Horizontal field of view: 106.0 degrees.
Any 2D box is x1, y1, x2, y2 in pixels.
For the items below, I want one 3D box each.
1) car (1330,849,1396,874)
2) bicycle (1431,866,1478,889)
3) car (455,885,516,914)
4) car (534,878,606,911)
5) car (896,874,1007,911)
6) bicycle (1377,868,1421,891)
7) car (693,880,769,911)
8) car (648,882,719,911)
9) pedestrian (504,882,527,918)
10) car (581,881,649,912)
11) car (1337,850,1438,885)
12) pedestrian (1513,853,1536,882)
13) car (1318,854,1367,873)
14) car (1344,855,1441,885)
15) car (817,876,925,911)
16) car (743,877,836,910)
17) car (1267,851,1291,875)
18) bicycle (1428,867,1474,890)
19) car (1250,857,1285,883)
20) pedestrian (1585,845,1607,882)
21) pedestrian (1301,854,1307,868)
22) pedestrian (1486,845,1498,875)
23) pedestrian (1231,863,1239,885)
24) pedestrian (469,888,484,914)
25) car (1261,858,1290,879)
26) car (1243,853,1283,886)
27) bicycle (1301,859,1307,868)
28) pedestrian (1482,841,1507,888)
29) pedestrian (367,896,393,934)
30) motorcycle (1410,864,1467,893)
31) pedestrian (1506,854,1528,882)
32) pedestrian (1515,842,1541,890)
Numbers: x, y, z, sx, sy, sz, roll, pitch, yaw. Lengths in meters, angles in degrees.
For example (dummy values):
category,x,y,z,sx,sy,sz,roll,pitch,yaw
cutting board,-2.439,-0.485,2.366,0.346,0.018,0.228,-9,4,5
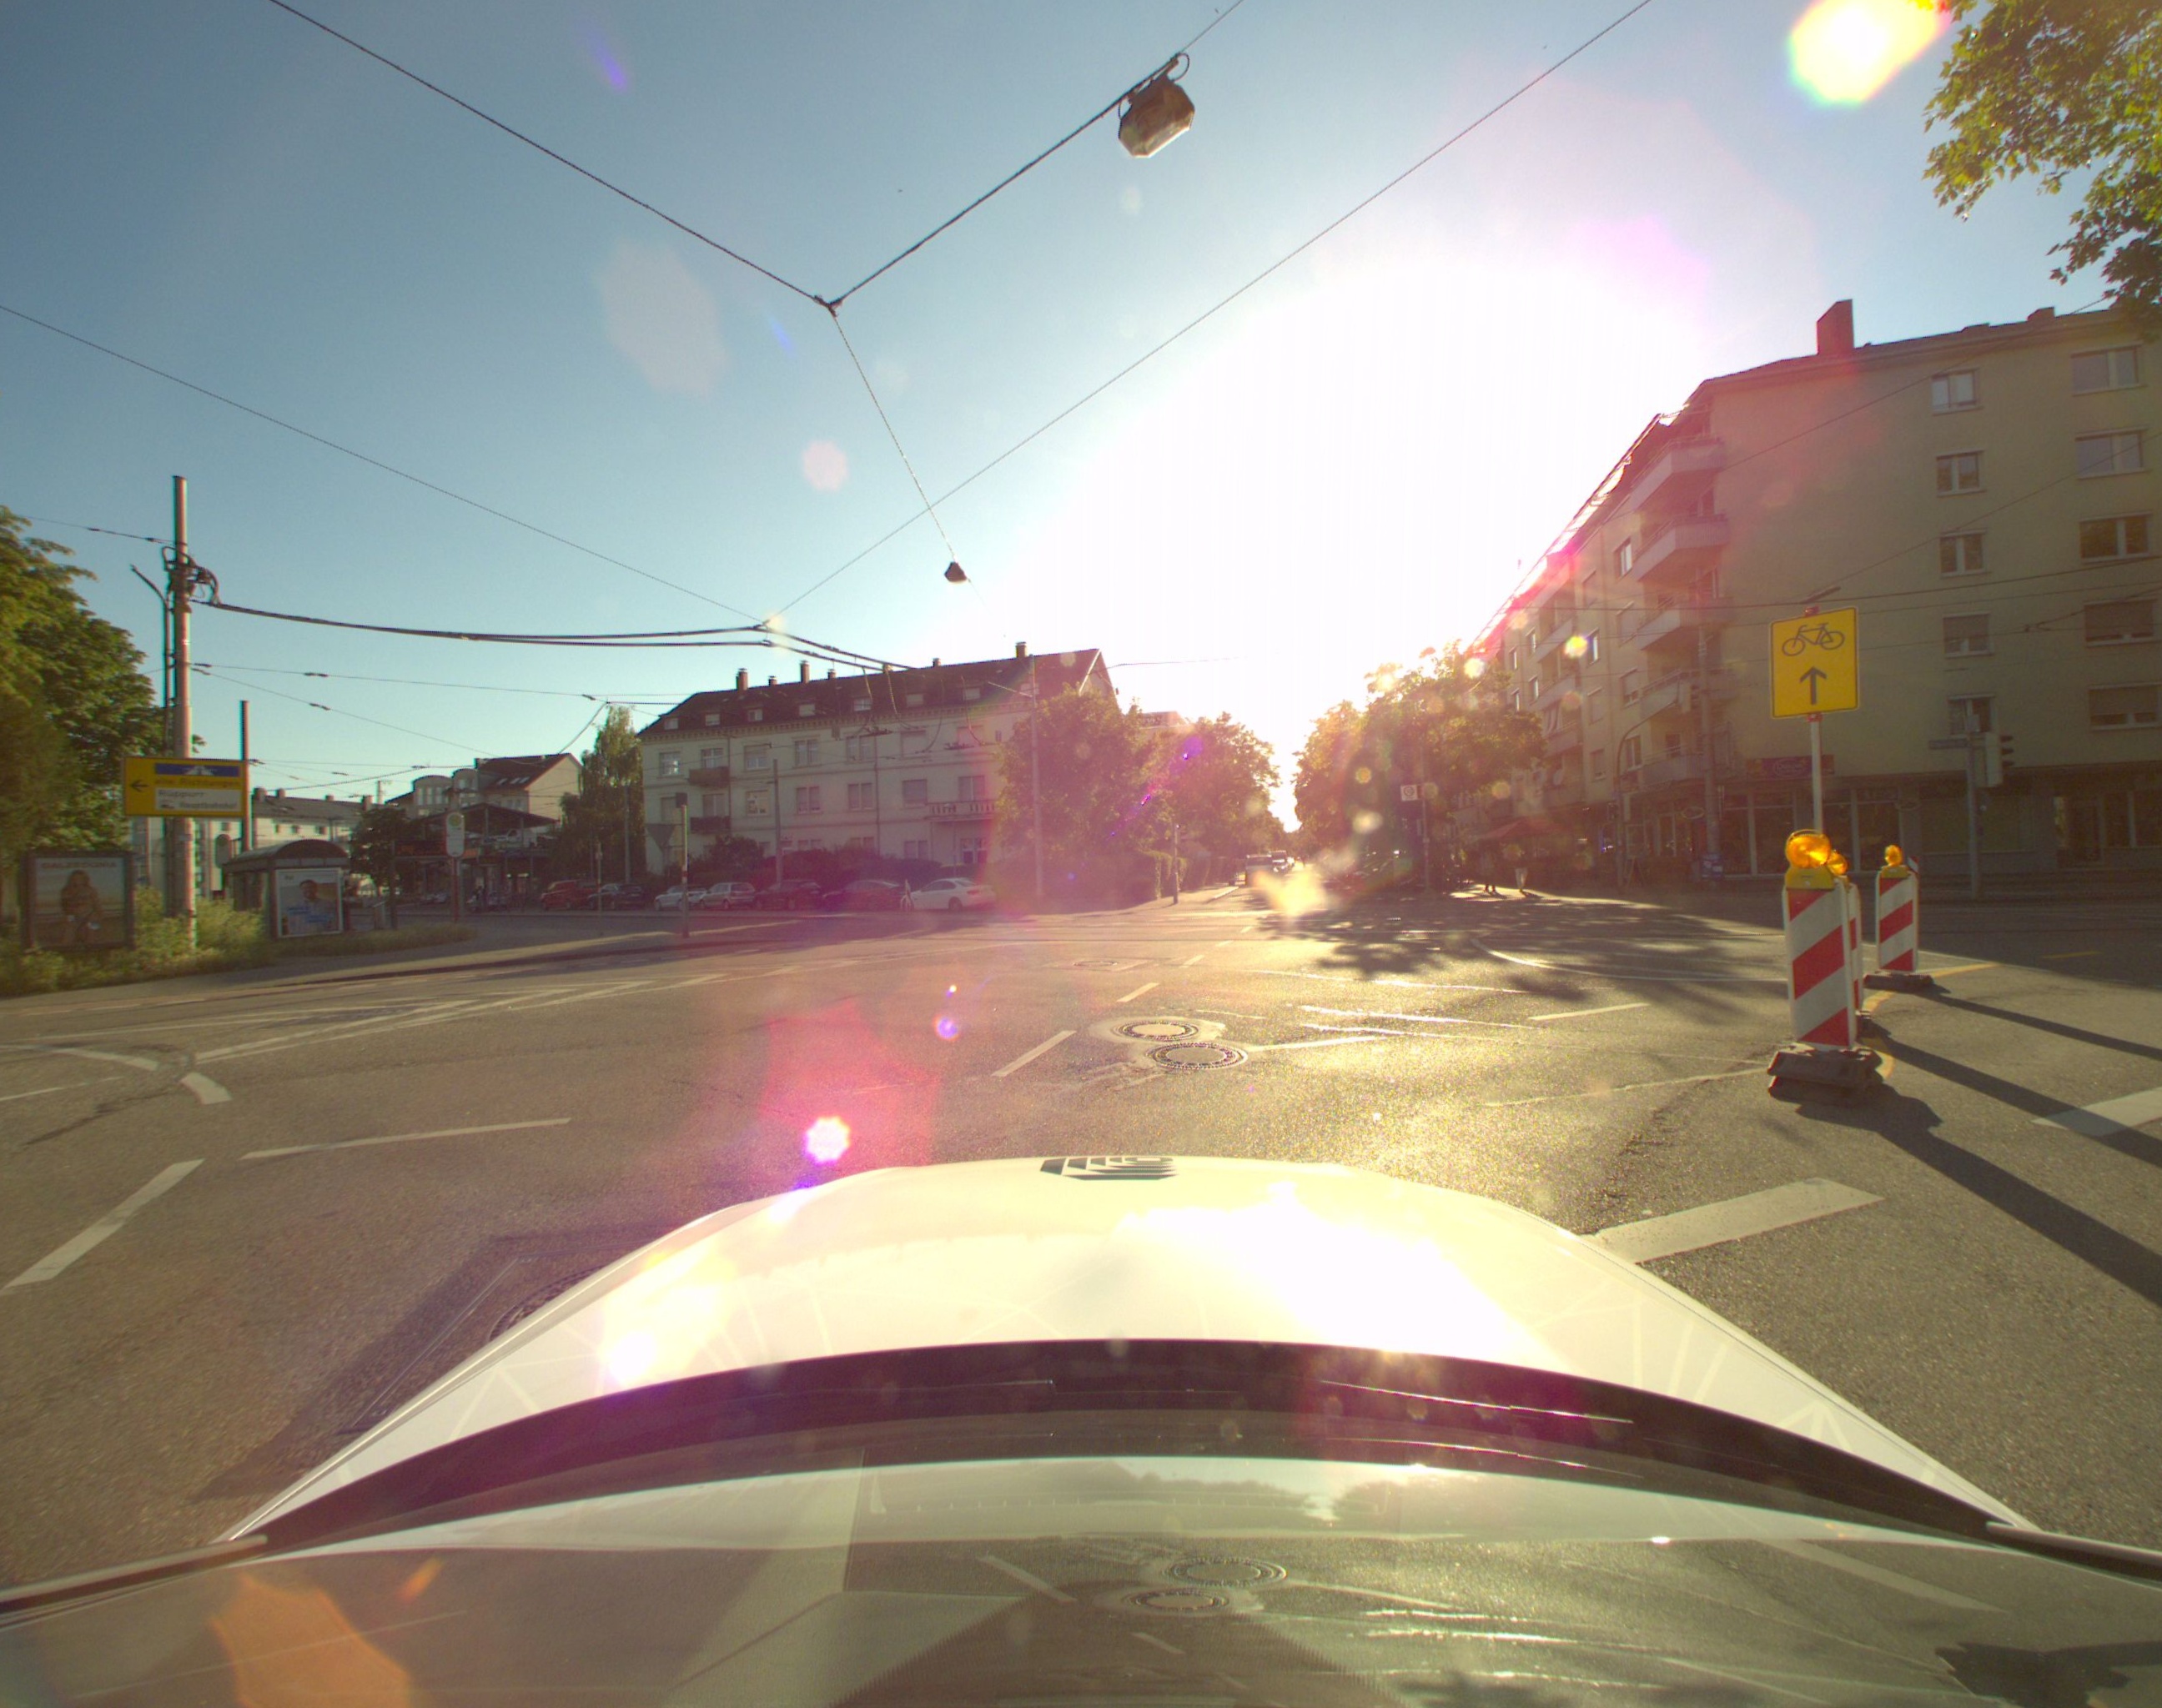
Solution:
category,x,y,z,sx,sy,sz,roll,pitch,yaw
car,24.284,0.692,70.210,5.056,1.924,2.369,-2,-3,11
bicycle,15.787,0.993,34.485,1.711,0.932,0.564,-2,-1,14
car,-45.413,3.438,62.105,5.084,1.961,2.070,-2,1,34
car,-33.873,2.684,53.962,5.084,1.961,2.070,-2,1,34
car,-5.556,1.661,34.800,4.439,1.376,1.943,-2,1,33
bicycle,13.849,1.126,35.502,1.711,0.932,0.675,-2,-1,14
car,-18.641,2.188,43.323,3.671,1.447,2.000,-2,1,34
car,-22.402,2.388,45.890,3.907,1.447,1.857,-2,1,34
pedestrian,-32.819,2.654,47.263,0.759,2.014,0.930,-3,-2,39
car,-28.750,2.613,50.166,4.313,1.668,1.857,-2,1,34
car,19.068,0.883,50.924,5.583,1.924,2.369,-2,-3,11
pedestrian,21.537,0.657,39.586,0.804,1.362,0.918,-3,-1,20
car,29.942,1.077,93.338,5.056,1.924,2.369,-2,-3,11
car,18.400,0.958,48.408,5.056,1.557,2.369,-2,-3,11
car,-9.755,1.855,37.766,4.645,1.376,2.000,-3,1,29
car,-14.726,2.012,41.052,4.644,1.447,2.000,-2,1,34
car,21.816,0.994,89.945,2.339,2.515,5.327,-2,-1,12
bicycle,15.980,1.069,35.231,1.711,0.932,0.564,-2,-1,14
car,13.689,1.148,59.903,2.339,1.795,5.327,-2,-1,12
pedestrian,22.849,0.426,36.120,0.615,1.591,0.478,-2,-1,-2
pedestrian,32.654,1.012,119.226,0.731,2.014,0.746,-2,-1,15
pedestrian,28.131,0.394,55.779,0.533,2.014,0.512,-2,-1,7
pedestrian,12.602,1.635,66.539,0.575,1.731,0.609,-2,-1,9
pedestrian,-35.386,2.755,47.665,0.571,1.501,0.670,-1,-2,-43
car,17.753,1.283,74.528,2.339,1.795,5.327,-2,-1,12
car,12.015,1.007,53.897,2.339,2.014,5.327,-2,-1,12
bicycle,32.685,1.356,119.267,0.760,1.324,1.931,-2,-1,15
pedestrian,15.746,0.402,31.023,0.684,1.750,0.800,-3,-1,35
pedestrian,-27.186,2.361,31.586,0.499,1.427,0.601,-3,-1,27
motorcycle,14.581,1.010,33.238,1.940,1.109,0.839,-2,-1,9
pedestrian,21.862,0.712,40.880,0.804,1.362,0.918,-3,-1,20
pedestrian,16.718,0.447,30.443,0.685,1.750,0.845,-2,-1,21
